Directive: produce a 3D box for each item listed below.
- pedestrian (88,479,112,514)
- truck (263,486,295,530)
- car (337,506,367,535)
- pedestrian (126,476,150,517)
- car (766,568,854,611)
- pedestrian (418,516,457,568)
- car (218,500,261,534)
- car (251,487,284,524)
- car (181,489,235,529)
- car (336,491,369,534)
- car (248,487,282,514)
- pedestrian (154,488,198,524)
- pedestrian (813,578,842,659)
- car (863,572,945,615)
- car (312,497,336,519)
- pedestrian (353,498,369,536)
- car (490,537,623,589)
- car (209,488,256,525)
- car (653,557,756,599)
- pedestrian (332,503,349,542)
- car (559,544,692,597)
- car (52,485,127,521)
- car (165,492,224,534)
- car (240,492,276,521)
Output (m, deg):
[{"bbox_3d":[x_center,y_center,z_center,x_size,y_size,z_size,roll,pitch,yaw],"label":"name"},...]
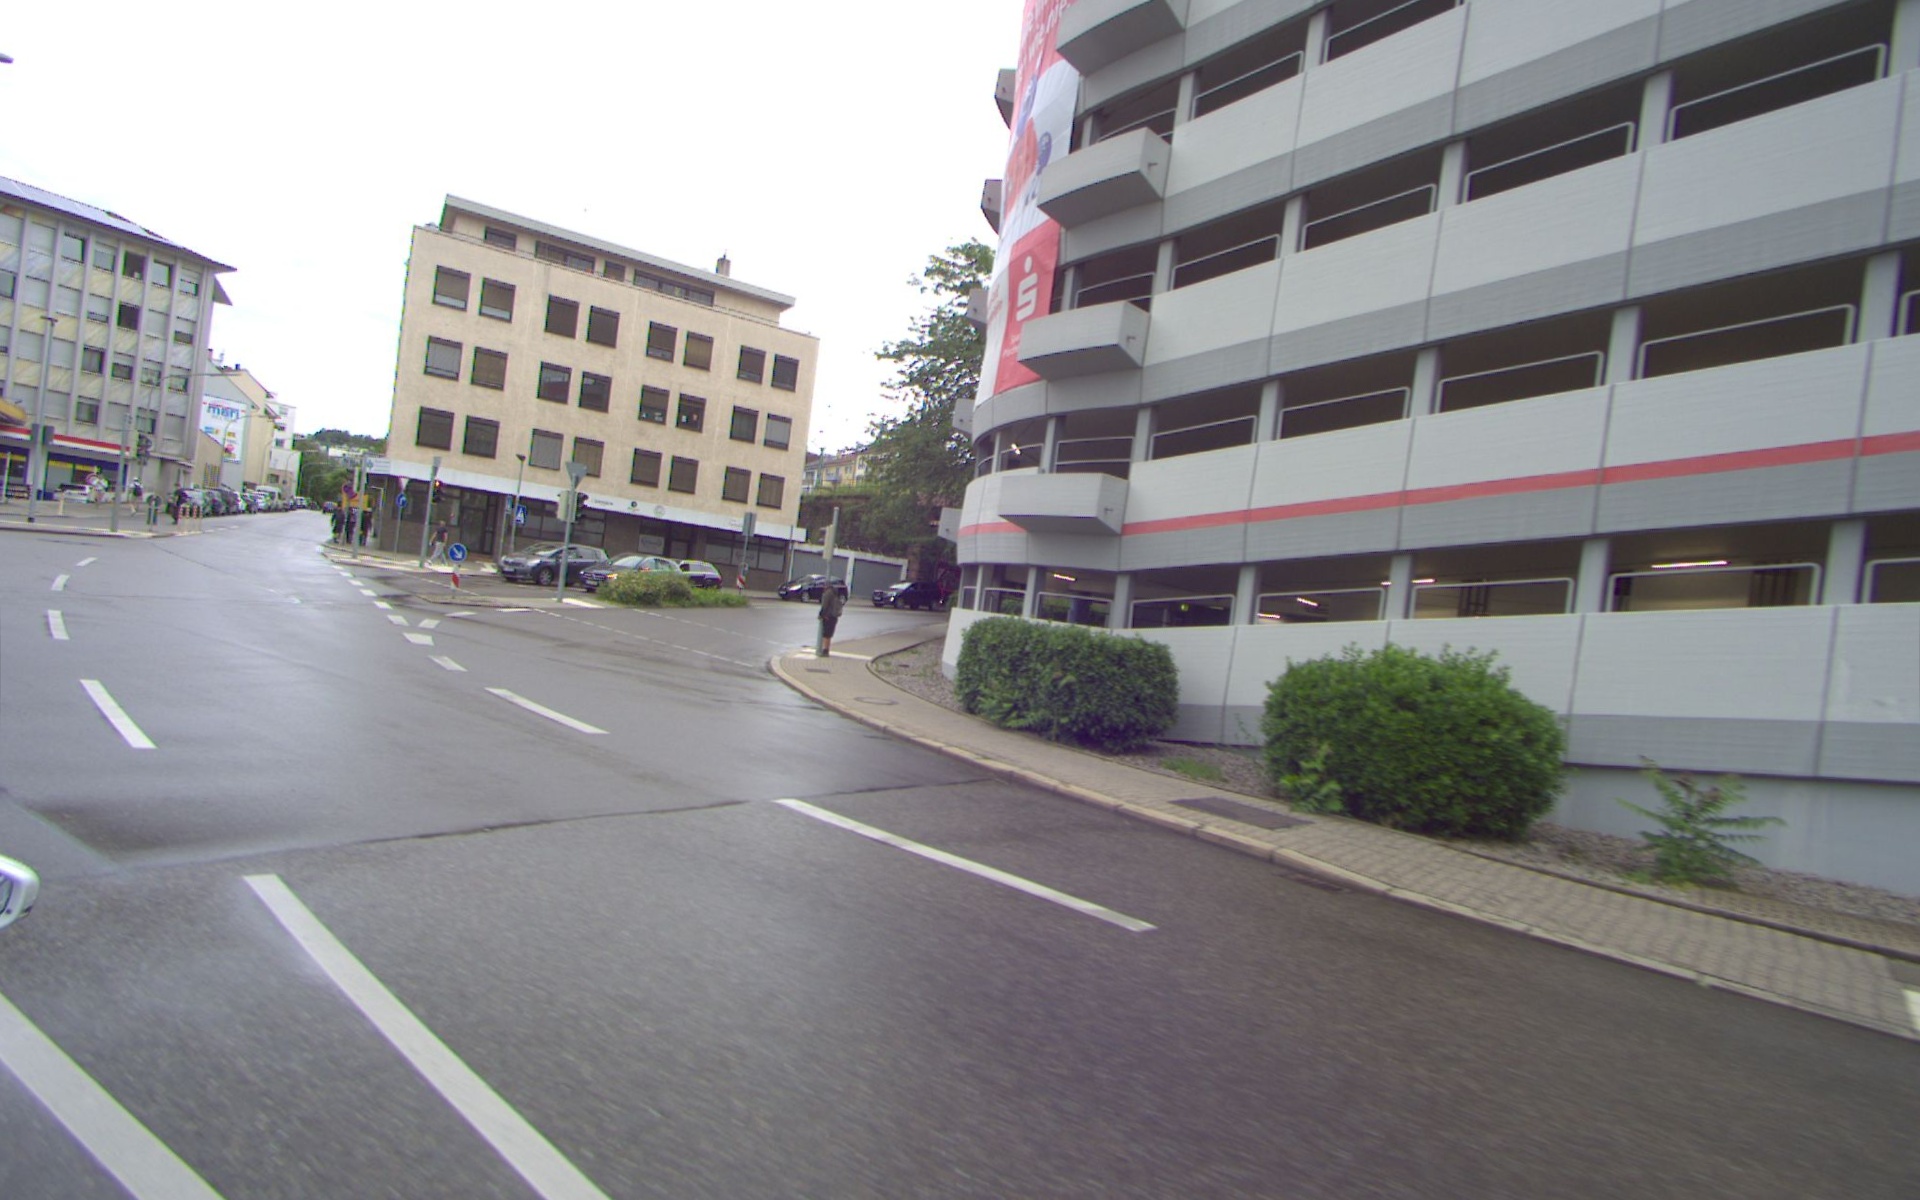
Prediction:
[{"bbox_3d":[-40.829,-4.912,47.763,0.472,1.532,0.574,7,-1,-11],"label":"pedestrian"},{"bbox_3d":[-69.248,-9.278,102.354,1.980,3.959,5.441,8,-2,-31],"label":"truck"},{"bbox_3d":[-53.626,-6.999,88.784,1.979,2.037,3.971,8,-2,-29],"label":"car"},{"bbox_3d":[-37.997,-4.785,46.506,0.674,1.778,0.724,8,-1,-38],"label":"pedestrian"},{"bbox_3d":[-7.695,-0.503,51.834,1.975,1.603,3.979,6,-3,45],"label":"car"},{"bbox_3d":[-20.029,-2.209,38.578,0.761,1.812,0.859,7,-1,25],"label":"pedestrian"},{"bbox_3d":[-51.541,-5.902,72.017,1.980,1.886,4.543,8,-2,-32],"label":"car"},{"bbox_3d":[-65.889,-8.946,95.795,1.980,3.008,4.543,8,-2,-32],"label":"car"},{"bbox_3d":[-45.537,-5.468,61.011,1.980,1.886,4.543,8,-2,-32],"label":"car"},{"bbox_3d":[-60.772,-8.701,100.715,2.360,3.730,4.956,8,-2,-30],"label":"car"},{"bbox_3d":[-61.791,-8.829,89.485,1.980,1.886,4.543,8,-2,-32],"label":"car"},{"bbox_3d":[-34.858,-4.176,44.757,1.095,1.368,0.916,8,-1,-11],"label":"pedestrian"},{"bbox_3d":[-3.229,0.444,24.505,0.499,1.916,0.543,5,4,-11],"label":"pedestrian"},{"bbox_3d":[-3.081,-0.336,56.050,1.975,1.803,4.142,6,-3,45],"label":"car"},{"bbox_3d":[-75.702,-10.959,119.851,1.979,2.037,3.971,8,-2,-29],"label":"car"},{"bbox_3d":[-29.053,-4.037,48.778,0.475,1.763,0.570,8,-1,-31],"label":"pedestrian"},{"bbox_3d":[-14.837,-1.313,37.244,1.963,1.463,4.481,7,1,21],"label":"car"},{"bbox_3d":[-48.372,-6.189,66.971,1.980,1.886,4.543,8,-2,-32],"label":"car"},{"bbox_3d":[-11.399,-0.956,45.180,1.964,1.463,4.478,7,1,25],"label":"car"},{"bbox_3d":[-29.765,-3.723,48.318,0.475,1.763,0.570,8,-1,-31],"label":"pedestrian"},{"bbox_3d":[-12.159,-1.033,36.873,1.964,1.463,4.477,7,1,26],"label":"car"},{"bbox_3d":[-51.026,-5.646,59.064,1.973,1.534,4.396,5,-1,-23],"label":"car"},{"bbox_3d":[-42.969,-4.839,56.569,1.980,1.886,4.543,8,-2,-32],"label":"car"},{"bbox_3d":[-59.012,-7.824,84.655,1.980,1.886,4.543,8,-2,-32],"label":"car"}]
